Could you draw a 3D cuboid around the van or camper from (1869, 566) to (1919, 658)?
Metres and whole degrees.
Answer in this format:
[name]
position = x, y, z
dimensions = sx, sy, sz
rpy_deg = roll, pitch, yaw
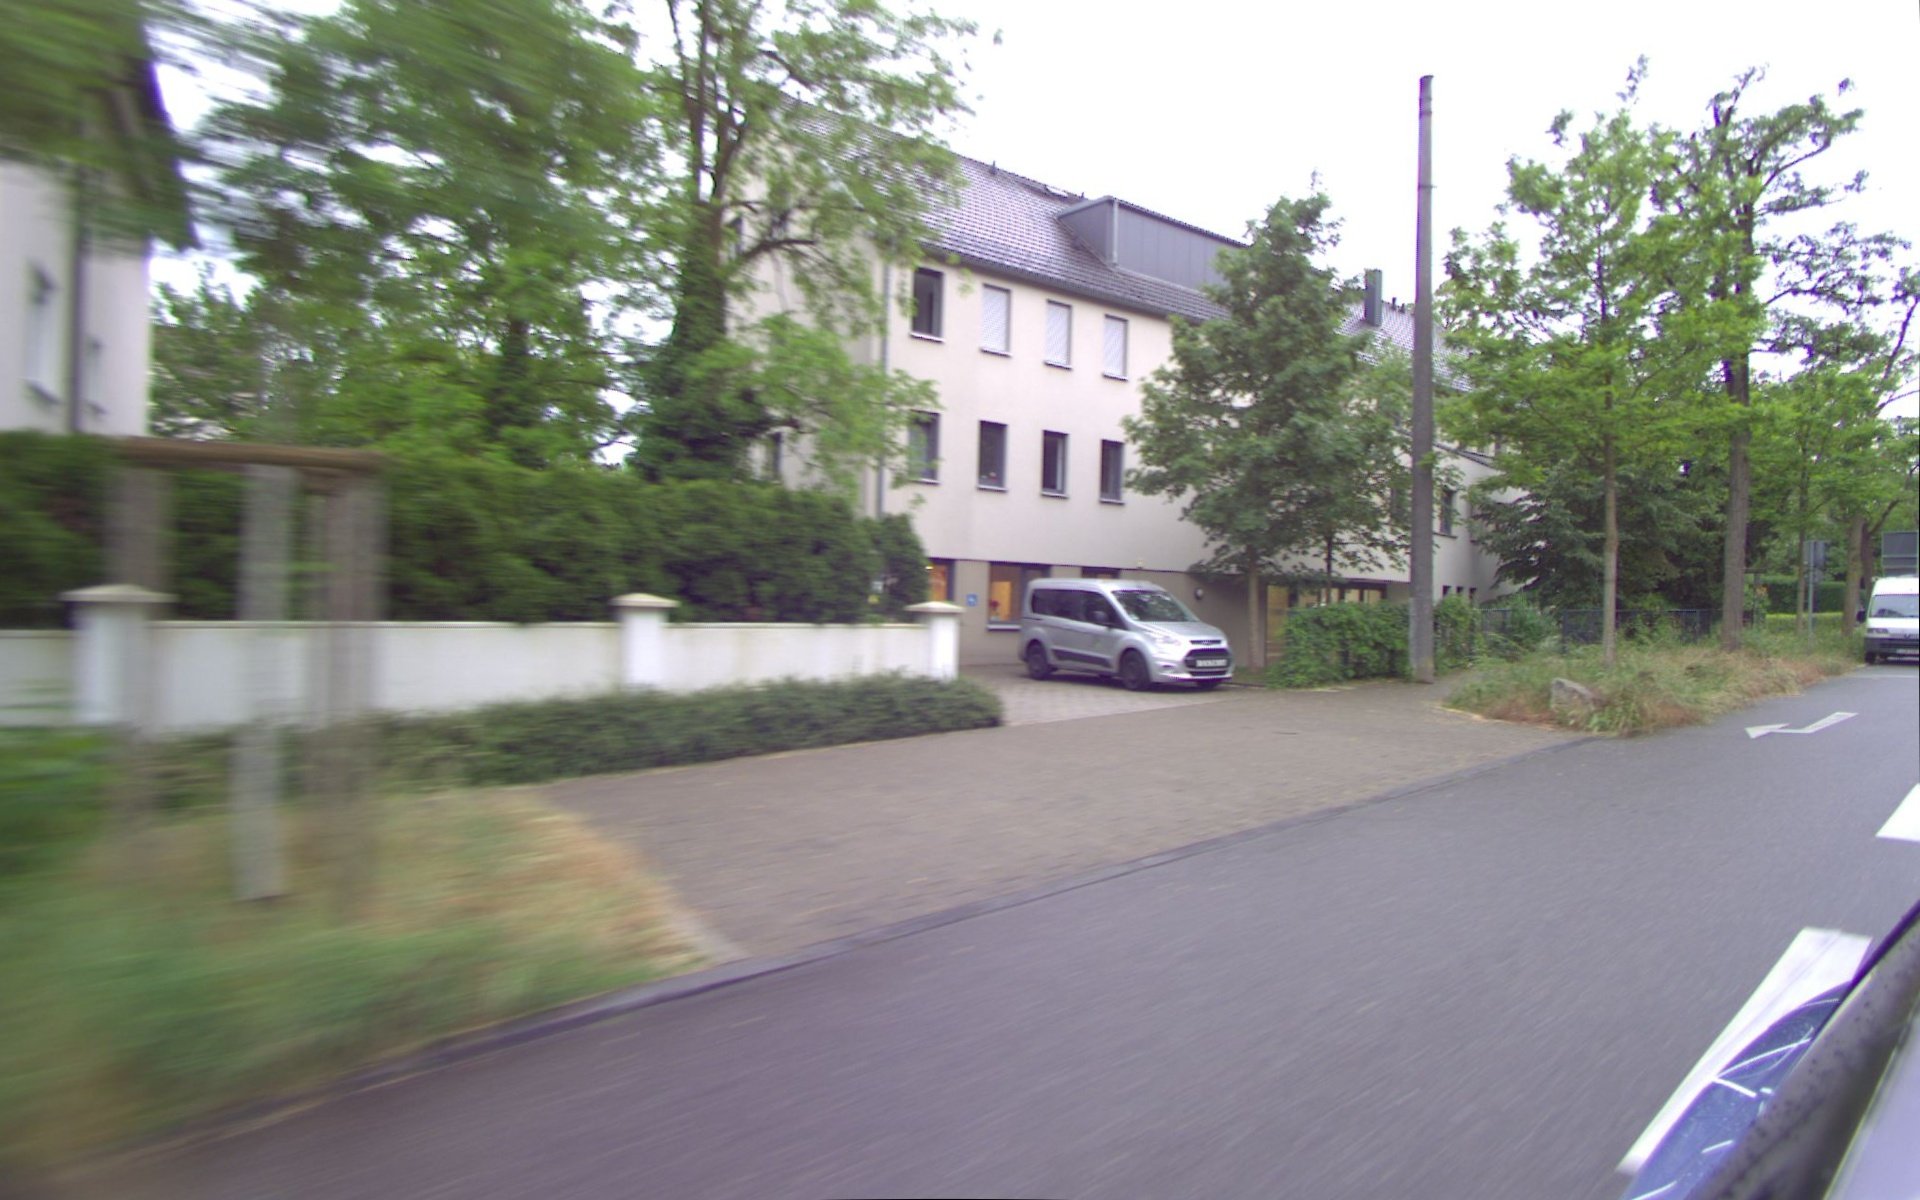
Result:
[van or camper]
position = 28.322, 0.337, 29.567
dimensions = 5.542, 2.511, 2.039
rpy_deg = 0, -1, -43

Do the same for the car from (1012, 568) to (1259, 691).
[car]
position = 2.868, 0.437, 17.459
dimensions = 1.837, 1.841, 4.322
rpy_deg = 0, 0, -31
